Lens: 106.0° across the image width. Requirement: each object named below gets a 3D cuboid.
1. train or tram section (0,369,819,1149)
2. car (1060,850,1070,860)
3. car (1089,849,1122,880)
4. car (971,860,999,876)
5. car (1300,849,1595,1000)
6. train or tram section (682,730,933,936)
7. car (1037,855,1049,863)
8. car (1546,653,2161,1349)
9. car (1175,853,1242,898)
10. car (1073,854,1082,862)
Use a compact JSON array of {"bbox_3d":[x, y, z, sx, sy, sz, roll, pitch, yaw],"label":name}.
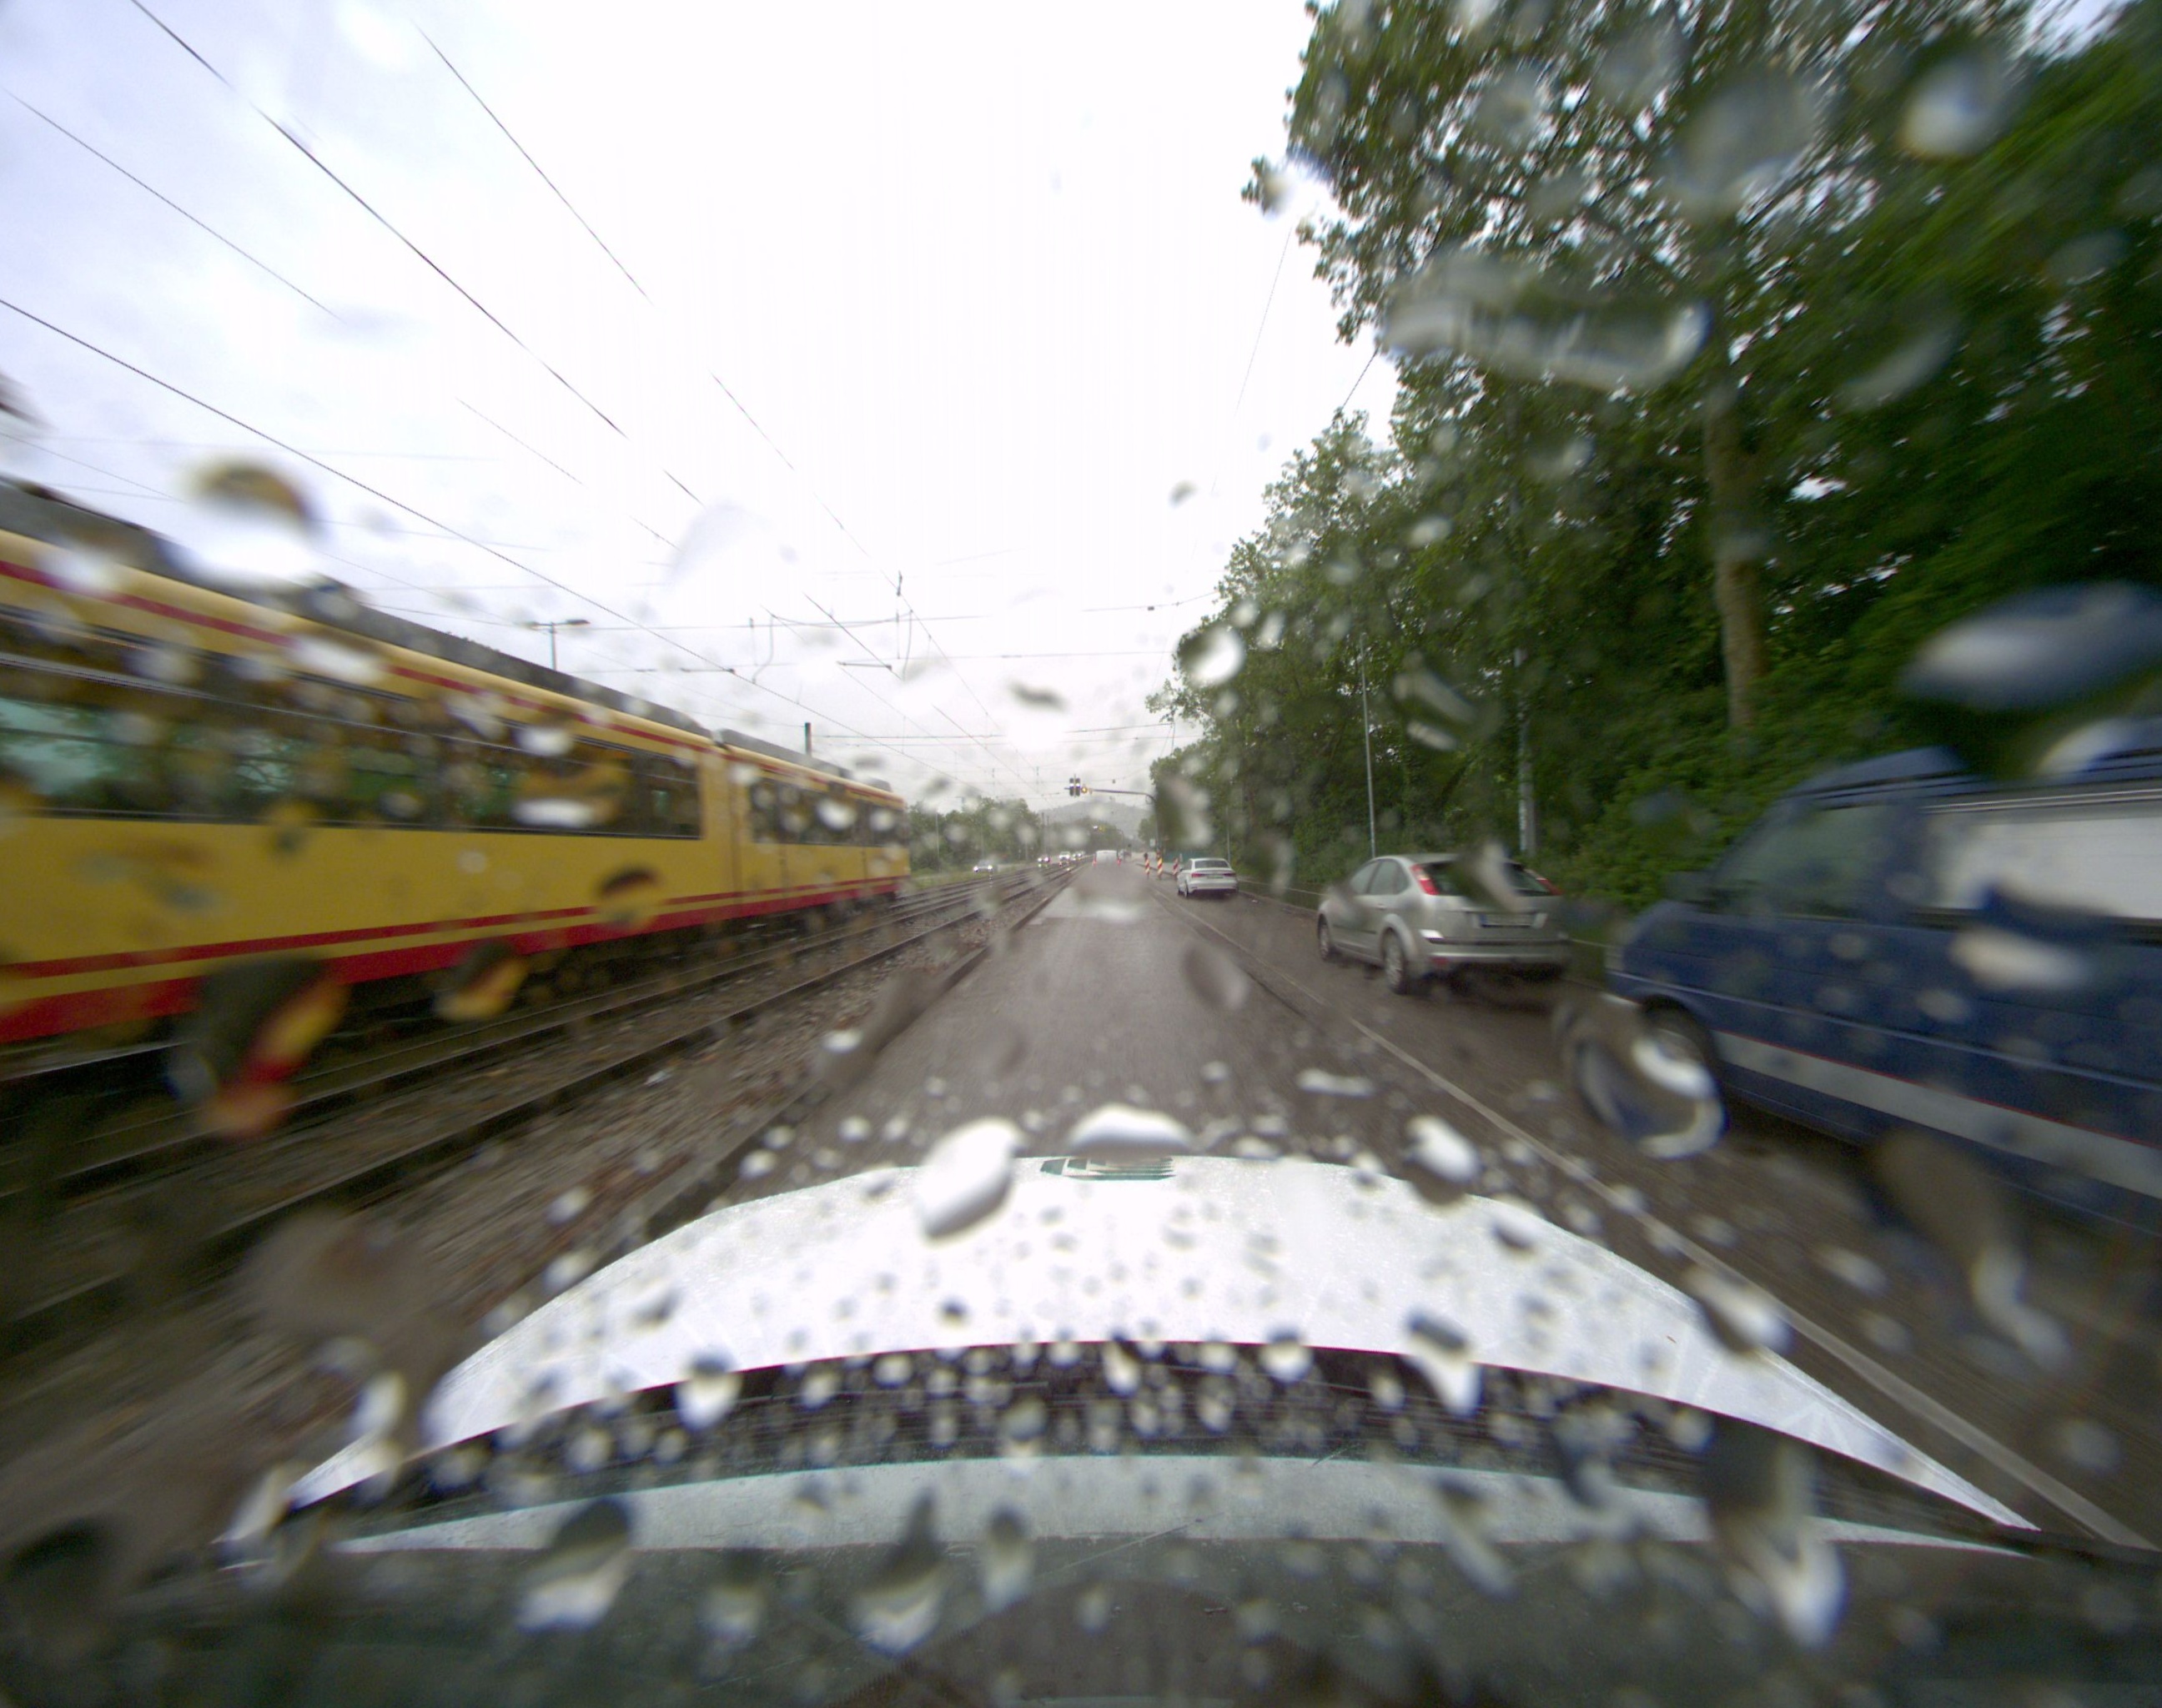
[{"bbox_3d":[-6.961,-0.448,10.069,2.796,4.150,13.023,-1,0,2],"label":"train or tram section"},{"bbox_3d":[-3.521,0.296,177.797,1.985,2.014,4.002,-1,-1,2],"label":"car"},{"bbox_3d":[1.614,0.666,52.735,1.985,1.849,4.003,-2,0,3],"label":"car"},{"bbox_3d":[-9.738,1.389,82.890,1.986,1.404,5.387,-2,0,1],"label":"car"},{"bbox_3d":[4.150,0.705,10.109,1.806,1.459,4.347,0,-1,1],"label":"car"},{"bbox_3d":[-6.542,-0.371,21.771,2.800,4.150,10.274,-1,-1,2],"label":"train or tram section"},{"bbox_3d":[-6.697,0.876,144.651,1.813,1.398,4.001,-2,0,1],"label":"car"},{"bbox_3d":[4.081,0.423,3.119,1.869,2.013,4.982,0,0,1],"label":"car"},{"bbox_3d":[4.509,0.719,29.354,1.813,1.486,4.482,0,0,1],"label":"car"},{"bbox_3d":[-0.883,0.975,204.958,1.985,1.948,4.002,-1,-1,2],"label":"car"}]
